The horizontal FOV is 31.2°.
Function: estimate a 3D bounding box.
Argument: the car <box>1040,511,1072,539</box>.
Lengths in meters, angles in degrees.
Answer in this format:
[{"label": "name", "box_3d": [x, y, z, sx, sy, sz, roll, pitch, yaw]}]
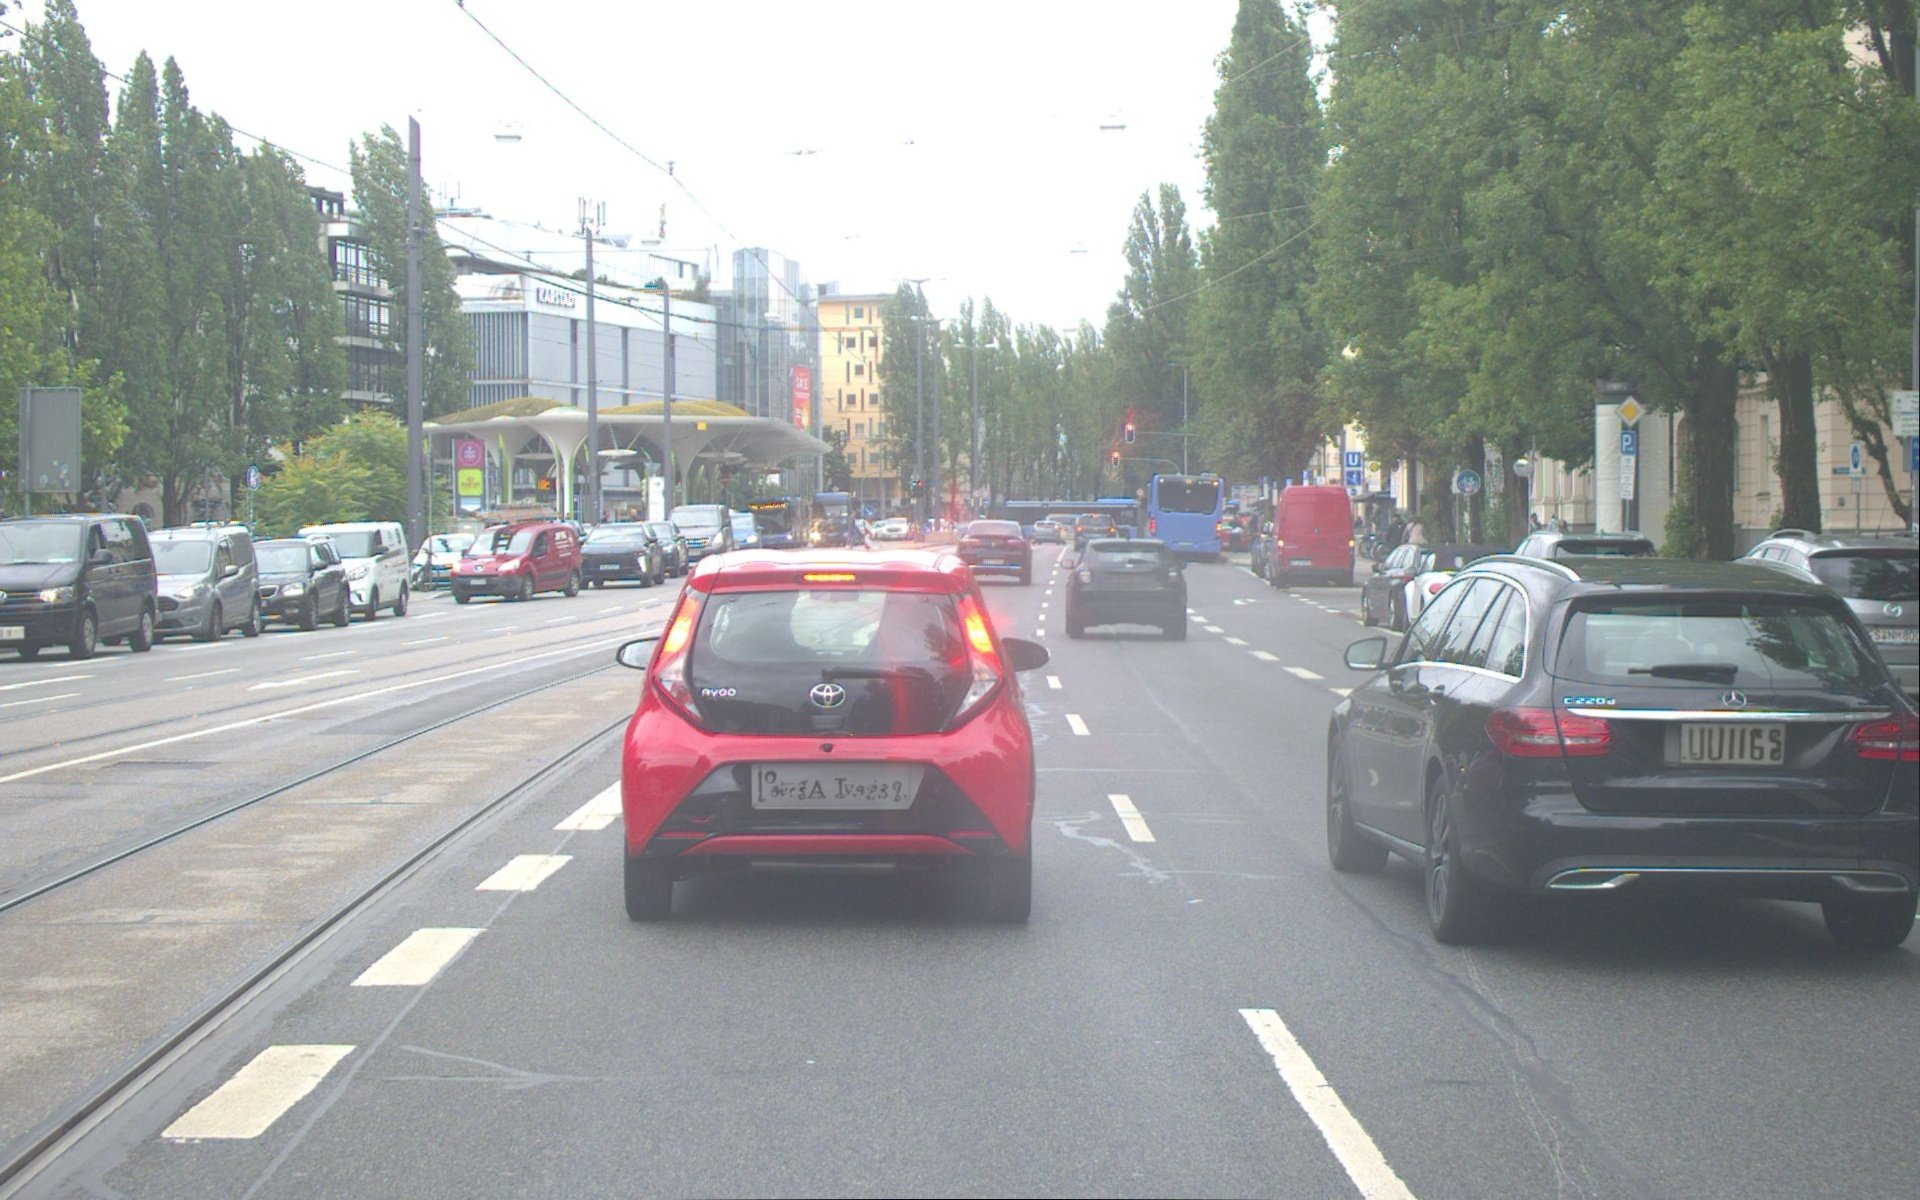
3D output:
[{"label": "car", "box_3d": [6.082, -4.735, 217.473, 1.804, 1.590, 3.999, 1, -1, 5]}]

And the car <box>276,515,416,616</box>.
[{"label": "car", "box_3d": [-12.004, -0.696, 67.506, 1.799, 1.855, 4.631, -2, 1, 1]}]

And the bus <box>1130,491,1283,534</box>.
[{"label": "bus", "box_3d": [17.239, -6.133, 240.647, 10.554, 2.836, 2.001, 0, 3, -2]}]

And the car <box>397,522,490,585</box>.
[{"label": "car", "box_3d": [-13.389, -1.222, 89.368, 1.799, 1.525, 4.519, -2, 1, -1]}]

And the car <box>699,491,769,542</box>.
[{"label": "car", "box_3d": [-7.857, -2.910, 119.863, 1.799, 1.659, 4.518, -2, 1, 4]}]

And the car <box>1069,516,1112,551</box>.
[{"label": "car", "box_3d": [5.567, -2.855, 146.847, 1.781, 1.481, 4.000, 0, 1, 1]}]

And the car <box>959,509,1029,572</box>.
[{"label": "car", "box_3d": [0.881, -1.537, 87.862, 1.736, 1.544, 4.576, 0, 1, 1]}]

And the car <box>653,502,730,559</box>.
[{"label": "car", "box_3d": [-8.244, -2.152, 105.844, 1.799, 1.659, 4.519, -2, 1, 2]}]

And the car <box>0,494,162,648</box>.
[{"label": "car", "box_3d": [-12.472, -0.421, 47.098, 1.799, 1.984, 5.039, -1, 1, 1]}]

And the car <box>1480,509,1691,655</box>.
[{"label": "car", "box_3d": [7.840, -0.267, 43.471, 1.799, 1.737, 4.701, 0, 1, 0]}]

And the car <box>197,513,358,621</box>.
[{"label": "car", "box_3d": [-12.042, -0.604, 60.924, 1.799, 1.782, 4.519, -2, 1, 1]}]

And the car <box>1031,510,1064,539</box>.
[{"label": "car", "box_3d": [5.366, -4.624, 210.453, 1.804, 1.590, 3.999, 1, -1, 5]}]

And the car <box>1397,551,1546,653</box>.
[{"label": "car", "box_3d": [7.923, 0.003, 53.527, 1.799, 1.503, 4.000, 0, 1, 1]}]

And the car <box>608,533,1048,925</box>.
[{"label": "car", "box_3d": [-0.538, 0.453, 14.627, 1.628, 1.435, 3.377, 1, 1, -1]}]

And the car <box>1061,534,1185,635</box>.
[{"label": "car", "box_3d": [2.463, -0.271, 52.670, 1.781, 1.481, 4.000, 0, 1, 1]}]

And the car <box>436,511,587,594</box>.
[{"label": "car", "box_3d": [-10.194, -1.102, 78.432, 1.800, 1.782, 4.516, -2, 1, 15]}]

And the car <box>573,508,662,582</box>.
[{"label": "car", "box_3d": [-8.689, -1.407, 87.491, 1.799, 1.782, 4.519, -2, 1, 0]}]

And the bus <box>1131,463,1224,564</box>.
[{"label": "bus", "box_3d": [7.878, -3.234, 125.812, 2.906, 3.384, 10.807, 0, 3, 1]}]

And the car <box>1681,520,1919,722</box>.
[{"label": "car", "box_3d": [7.622, 0.115, 29.772, 1.799, 1.606, 4.547, 0, 1, 0]}]

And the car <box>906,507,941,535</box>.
[{"label": "car", "box_3d": [-1.934, -4.210, 183.313, 1.781, 1.481, 4.000, 0, 1, 1]}]

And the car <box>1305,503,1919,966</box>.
[{"label": "car", "box_3d": [2.601, 0.398, 14.162, 1.863, 1.543, 4.704, 0, 2, 0]}]

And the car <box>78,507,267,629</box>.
[{"label": "car", "box_3d": [-12.365, -0.523, 54.279, 1.799, 1.782, 4.519, -2, 1, 1]}]

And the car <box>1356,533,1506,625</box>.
[{"label": "car", "box_3d": [7.978, -0.386, 58.532, 1.799, 1.503, 4.451, 0, 1, -2]}]

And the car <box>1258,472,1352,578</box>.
[{"label": "car", "box_3d": [8.841, -1.977, 88.453, 1.993, 2.565, 4.680, 0, 3, 1]}]
